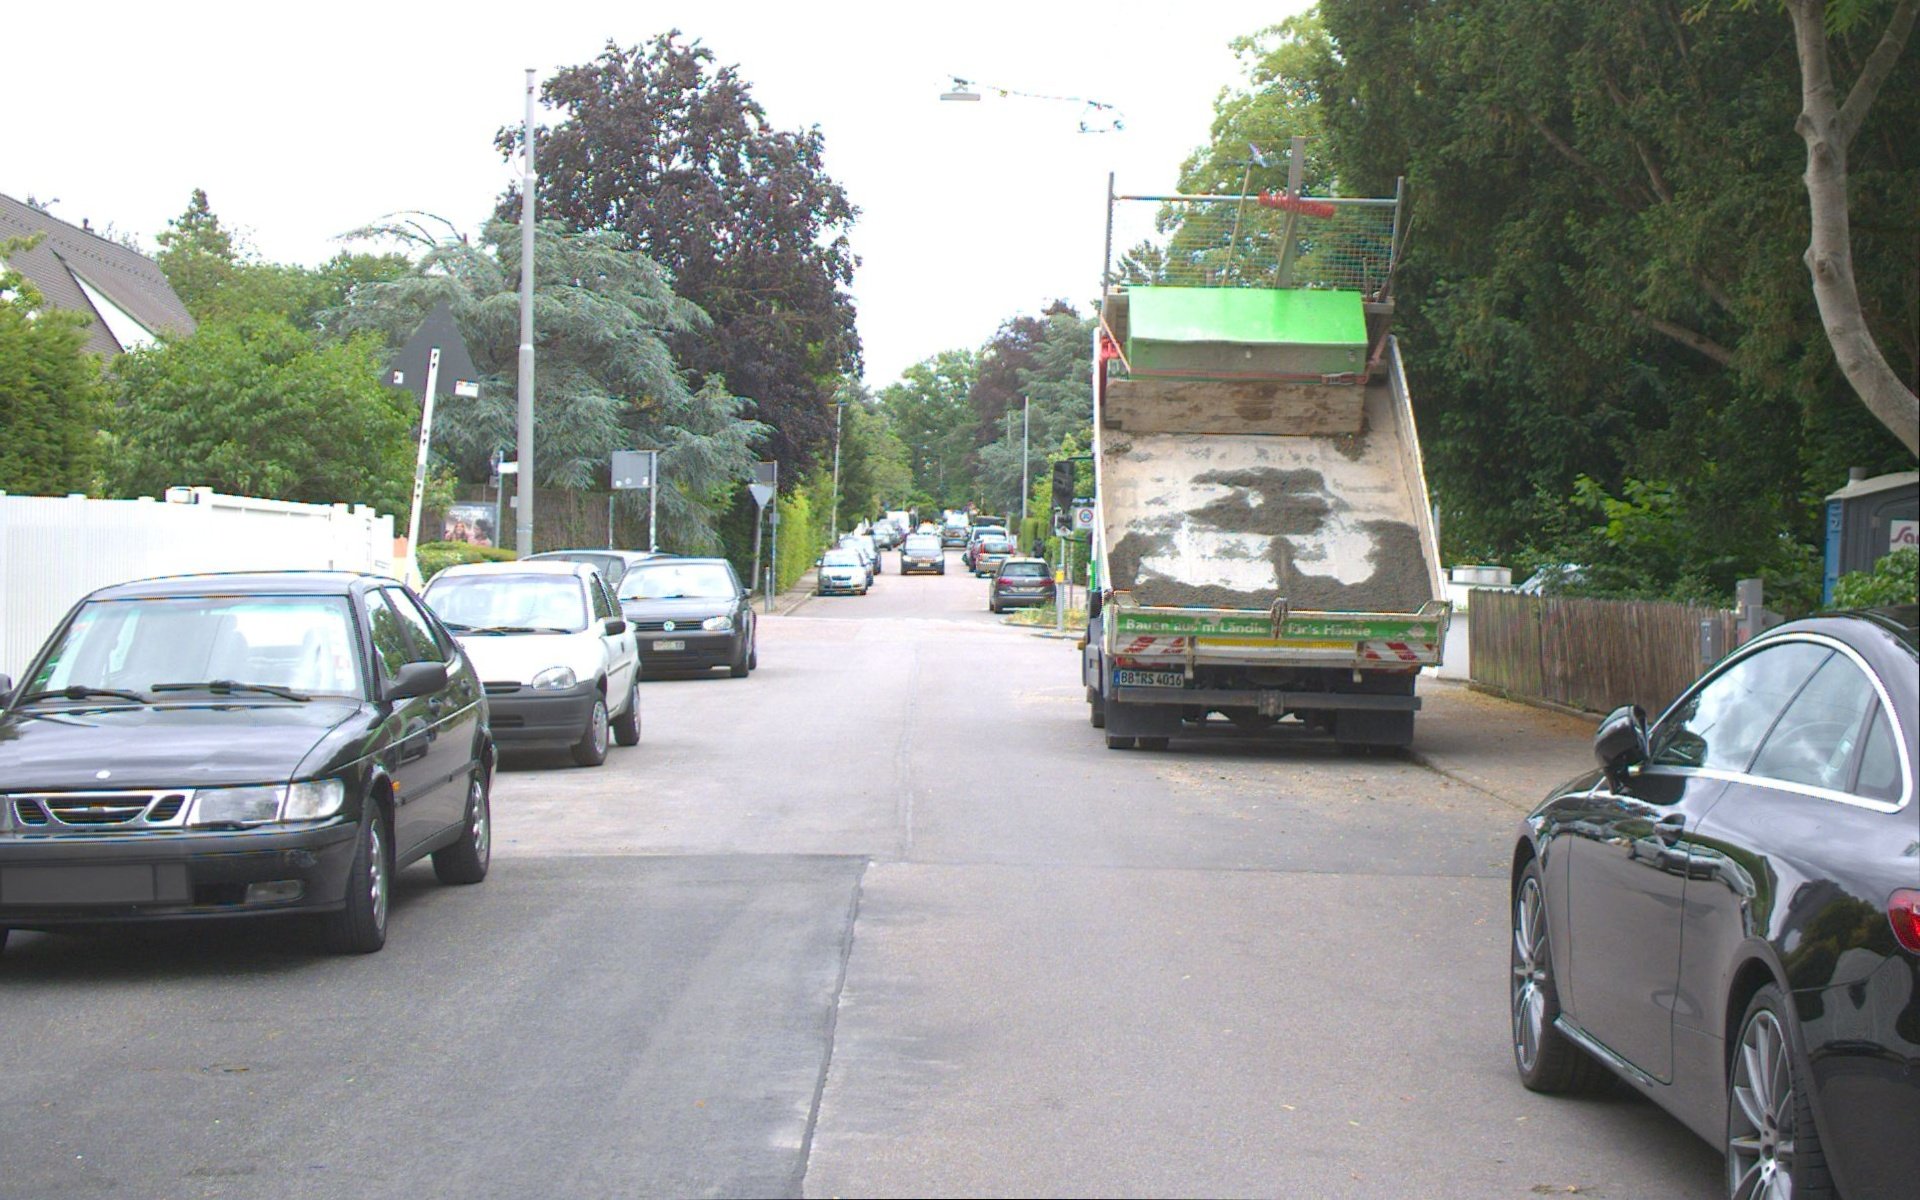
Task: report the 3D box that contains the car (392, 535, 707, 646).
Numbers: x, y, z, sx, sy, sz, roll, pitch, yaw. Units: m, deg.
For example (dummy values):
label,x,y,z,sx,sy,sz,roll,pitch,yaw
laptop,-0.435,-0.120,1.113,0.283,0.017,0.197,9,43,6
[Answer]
label,x,y,z,sx,sy,sz,roll,pitch,yaw
car,-5.763,-0.159,48.415,3.990,1.439,1.825,1,2,16

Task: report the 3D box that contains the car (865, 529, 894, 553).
label,x,y,z,sx,sy,sz,roll,pitch,yaw
car,-4.813,-3.534,205.987,1.626,1.381,3.599,3,1,-1

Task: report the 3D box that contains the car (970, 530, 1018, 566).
label,x,y,z,sx,sy,sz,roll,pitch,yaw
car,1.371,-2.143,141.181,1.810,1.331,3.633,2,2,-1

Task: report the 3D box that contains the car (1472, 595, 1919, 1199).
label,x,y,z,sx,sy,sz,roll,pitch,yaw
car,2.417,0.759,8.151,1.652,1.419,4.661,2,1,0

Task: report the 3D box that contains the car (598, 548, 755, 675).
label,x,y,z,sx,sy,sz,roll,pitch,yaw
car,-3.343,0.099,41.097,1.637,1.390,3.989,-1,1,-2

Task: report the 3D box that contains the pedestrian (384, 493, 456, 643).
label,x,y,z,sx,sy,sz,roll,pitch,yaw
pedestrian,-7.378,-0.436,46.989,0.852,2.007,0.701,3,1,-5

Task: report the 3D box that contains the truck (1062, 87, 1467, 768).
label,x,y,z,sx,sy,sz,roll,pitch,yaw
truck,2.256,-1.277,27.900,2.524,4.732,7.187,2,1,0

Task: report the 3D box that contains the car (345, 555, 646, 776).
label,x,y,z,sx,sy,sz,roll,pitch,yaw
car,-3.290,0.413,24.998,1.596,1.428,4.000,-1,1,0

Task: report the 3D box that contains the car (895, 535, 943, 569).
label,x,y,z,sx,sy,sz,roll,pitch,yaw
car,-1.711,-2.013,144.555,1.728,1.402,3.803,1,1,4

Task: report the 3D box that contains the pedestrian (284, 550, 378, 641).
label,x,y,z,sx,sy,sz,roll,pitch,yaw
pedestrian,-8.593,-0.059,46.957,0.946,1.221,0.836,1,0,-42

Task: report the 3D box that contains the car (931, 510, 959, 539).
label,x,y,z,sx,sy,sz,roll,pitch,yaw
car,-0.924,-4.615,210.254,1.634,1.695,3.495,1,1,-1

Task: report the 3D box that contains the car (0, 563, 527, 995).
label,x,y,z,sx,sy,sz,roll,pitch,yaw
car,-2.958,0.599,14.069,1.641,1.417,4.549,-2,1,2

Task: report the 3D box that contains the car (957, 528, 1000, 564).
label,x,y,z,sx,sy,sz,roll,pitch,yaw
car,0.831,-2.355,150.048,1.789,1.524,3.734,1,1,1

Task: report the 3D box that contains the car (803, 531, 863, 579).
label,x,y,z,sx,sy,sz,roll,pitch,yaw
car,-4.334,-1.557,117.420,1.711,1.580,4.000,1,1,2

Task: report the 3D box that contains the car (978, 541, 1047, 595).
label,x,y,z,sx,sy,sz,roll,pitch,yaw
car,1.463,-0.916,97.478,1.778,1.484,4.000,1,1,-1

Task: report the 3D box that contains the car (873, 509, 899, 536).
label,x,y,z,sx,sy,sz,roll,pitch,yaw
car,-5.473,-5.677,253.021,1.817,1.875,4.000,3,1,-1
